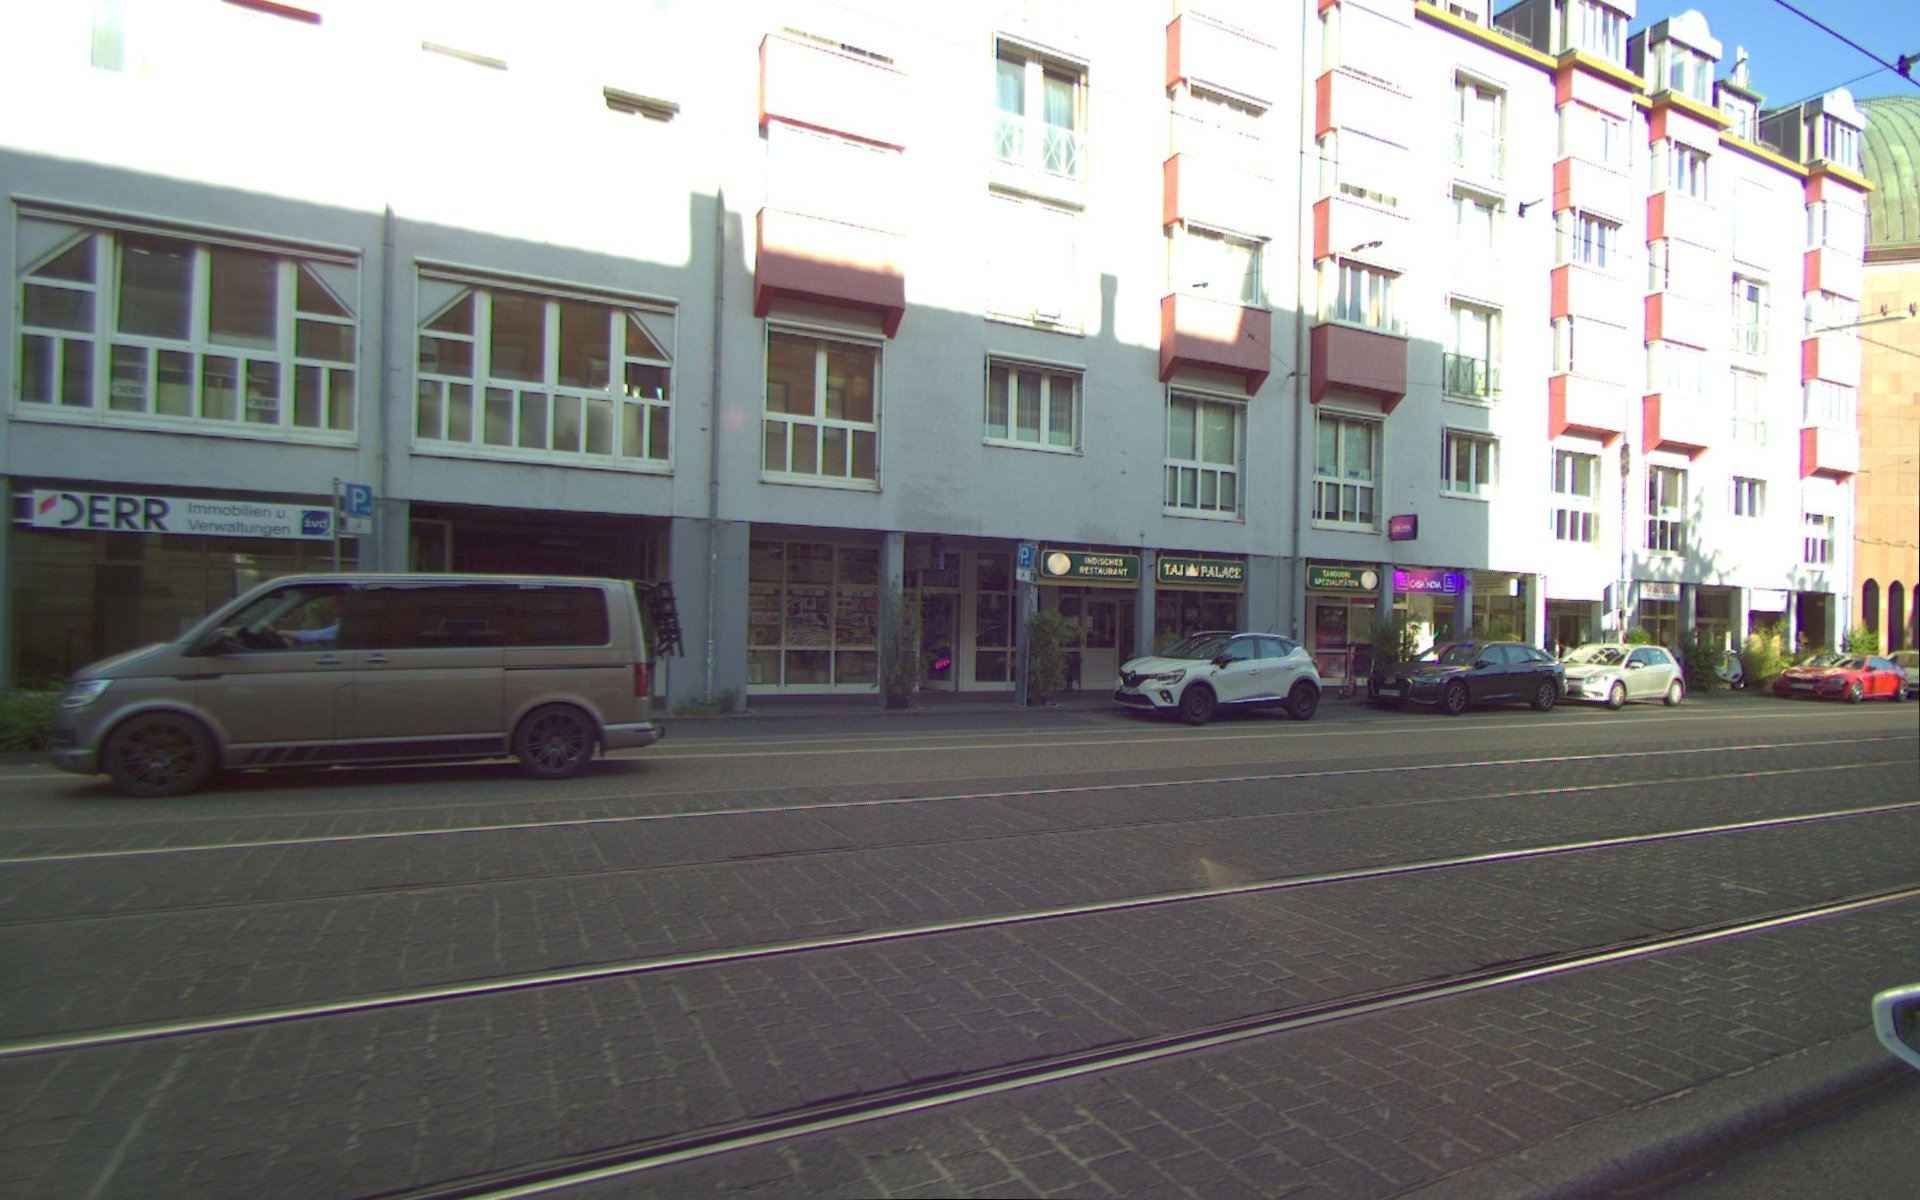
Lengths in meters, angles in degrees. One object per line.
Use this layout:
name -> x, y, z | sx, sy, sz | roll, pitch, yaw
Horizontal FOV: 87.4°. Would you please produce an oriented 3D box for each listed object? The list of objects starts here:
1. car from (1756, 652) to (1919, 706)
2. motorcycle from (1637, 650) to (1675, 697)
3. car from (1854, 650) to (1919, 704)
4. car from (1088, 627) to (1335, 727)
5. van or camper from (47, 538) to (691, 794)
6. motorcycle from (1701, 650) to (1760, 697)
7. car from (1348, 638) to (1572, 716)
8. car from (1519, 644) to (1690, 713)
car -> 25.414, 2.253, 29.052 | 4.760, 1.343, 1.952 | 2, 0, -28
motorcycle -> 19.114, 1.996, 27.556 | 2.068, 1.210, 0.456 | 1, 1, -45
car -> 30.001, 2.374, 31.347 | 4.235, 1.488, 1.663 | 2, 0, -27
car -> 4.704, 1.380, 18.642 | 4.317, 1.635, 1.909 | 2, -1, -29
van or camper -> -5.173, 0.628, 9.598 | 4.767, 1.965, 1.989 | 2, -4, -24
motorcycle -> 22.392, 2.118, 29.188 | 2.055, 1.315, 0.517 | 2, 1, -27
car -> 10.840, 1.616, 21.700 | 4.765, 1.477, 1.895 | 2, -1, -27
car -> 15.512, 1.848, 24.136 | 4.157, 1.494, 1.743 | 2, -1, -29
